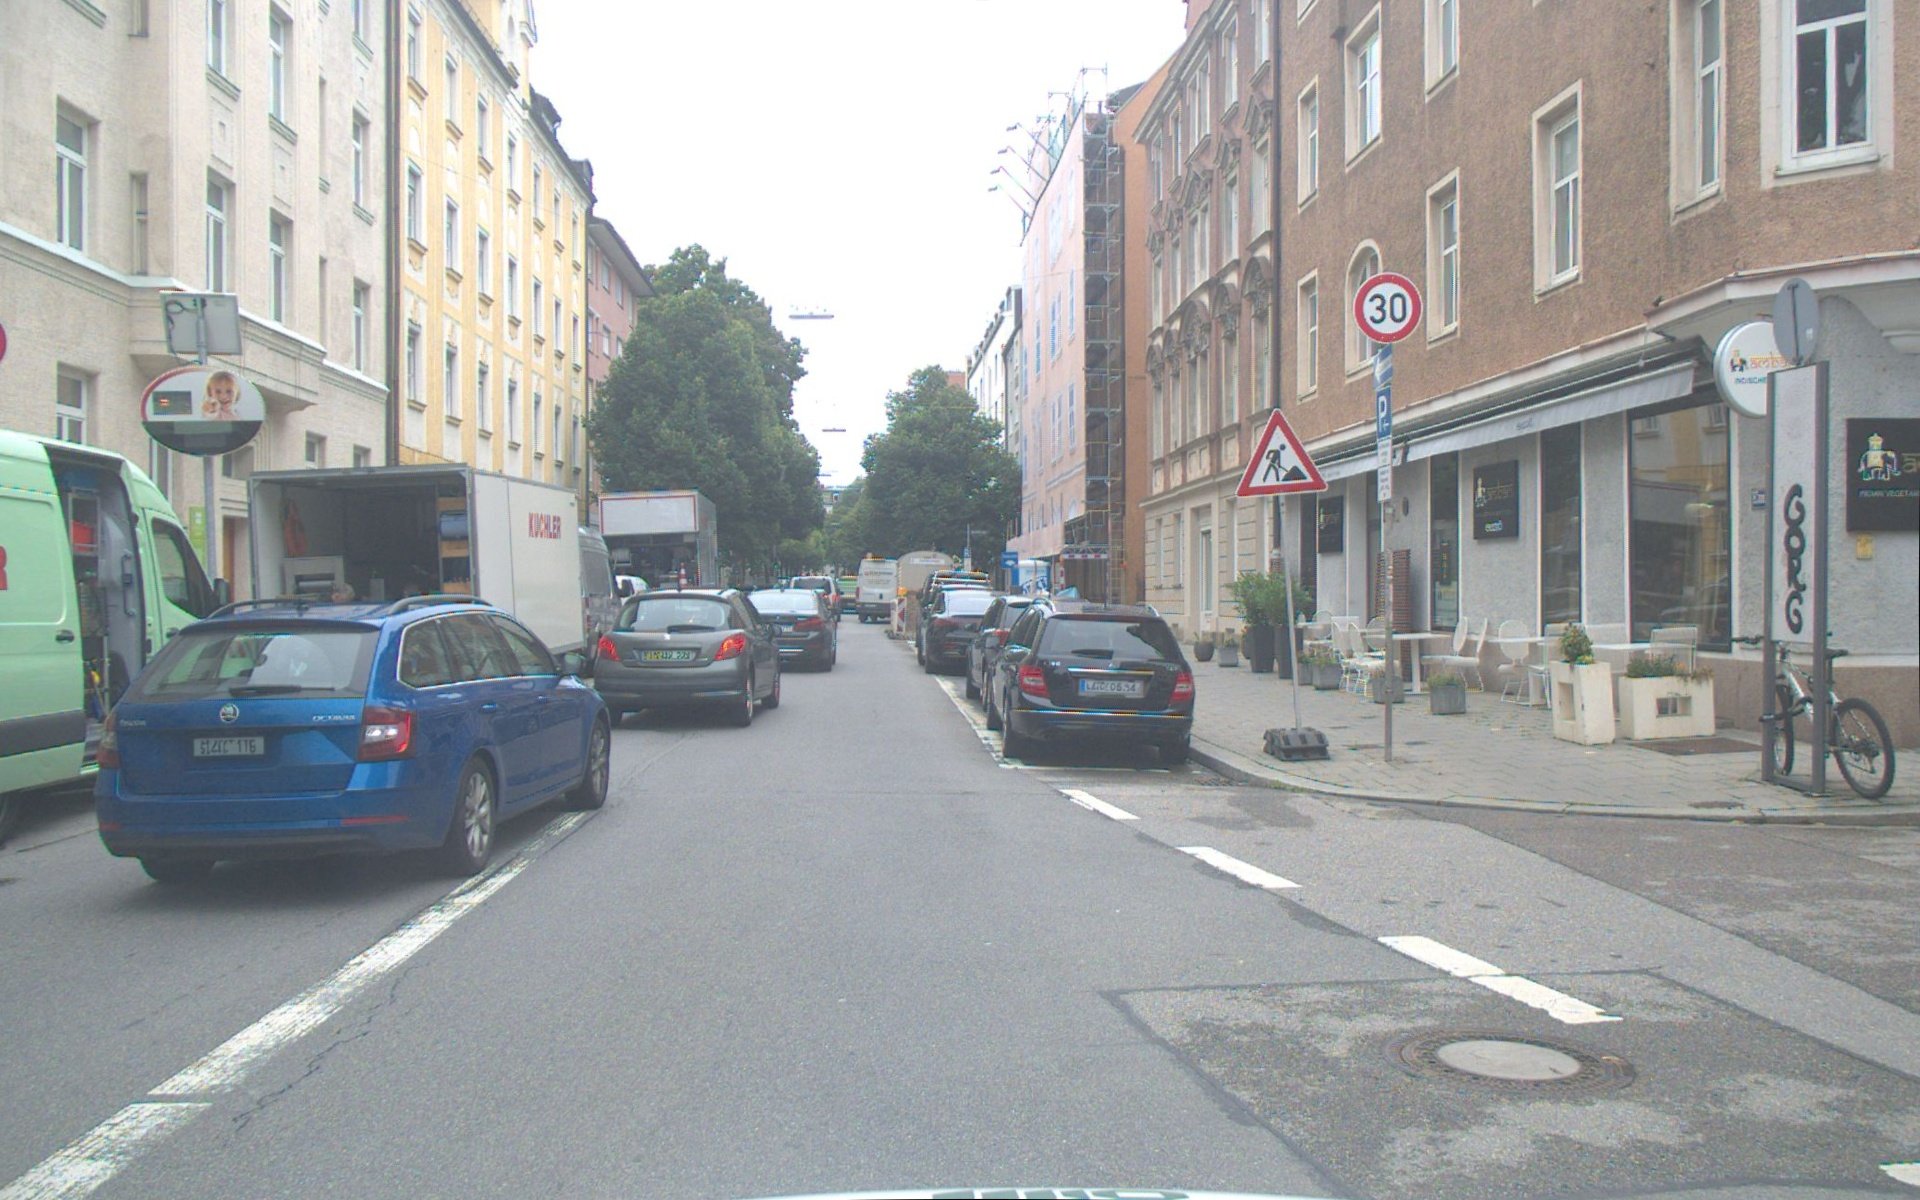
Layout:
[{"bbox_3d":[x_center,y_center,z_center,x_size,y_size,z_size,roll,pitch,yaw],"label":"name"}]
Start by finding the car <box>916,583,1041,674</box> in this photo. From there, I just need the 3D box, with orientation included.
[{"bbox_3d":[0.244,0.477,31.590,1.893,1.580,5.632,0,0,-4],"label":"car"}]

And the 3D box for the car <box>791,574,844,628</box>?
[{"bbox_3d":[-5.259,0.012,61.455,1.830,1.902,4.344,1,1,-4],"label":"car"}]

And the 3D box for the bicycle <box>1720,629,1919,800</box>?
[{"bbox_3d":[6.091,0.770,11.780,0.485,1.022,1.803,-2,2,-1],"label":"bicycle"}]

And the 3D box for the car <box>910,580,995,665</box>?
[{"bbox_3d":[-0.222,0.485,36.882,1.660,1.706,4.405,3,0,-3],"label":"car"}]

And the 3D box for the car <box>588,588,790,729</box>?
[{"bbox_3d":[-2.999,0.603,18.968,1.705,1.446,3.664,0,0,0],"label":"car"}]

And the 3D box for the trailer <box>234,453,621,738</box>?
[{"bbox_3d":[-6.718,-0.121,22.281,2.747,3.020,7.598,-3,1,-1],"label":"trailer"}]

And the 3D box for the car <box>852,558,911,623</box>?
[{"bbox_3d":[-3.368,-0.389,72.069,2.069,2.710,5.501,1,0,2],"label":"car"}]

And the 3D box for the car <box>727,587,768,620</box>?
[{"bbox_3d":[-10.022,0.128,78.215,1.777,1.504,3.995,0,1,-6],"label":"car"}]

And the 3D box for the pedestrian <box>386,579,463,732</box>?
[{"bbox_3d":[-5.998,0.608,18.511,0.751,1.659,0.632,-1,0,-23],"label":"pedestrian"}]

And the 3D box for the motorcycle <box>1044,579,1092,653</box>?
[{"bbox_3d":[2.300,0.330,35.538,0.854,1.531,1.996,0,0,-2],"label":"motorcycle"}]

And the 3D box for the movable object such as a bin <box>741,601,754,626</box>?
[{"bbox_3d":[-8.939,0.557,69.605,0.536,1.038,0.635,-2,1,-7],"label":"movable object such as a bin"}]

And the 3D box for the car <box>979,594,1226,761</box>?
[{"bbox_3d":[1.263,0.653,16.636,1.810,1.429,4.785,0,0,-3],"label":"car"}]

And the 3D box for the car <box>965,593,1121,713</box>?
[{"bbox_3d":[1.001,0.632,21.843,1.541,1.419,4.179,-1,0,-4],"label":"car"}]

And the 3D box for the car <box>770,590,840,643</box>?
[{"bbox_3d":[-4.410,0.433,47.499,1.830,1.371,4.344,1,1,-4],"label":"car"}]

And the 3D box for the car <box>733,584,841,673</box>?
[{"bbox_3d":[-3.148,0.479,30.677,1.831,1.479,4.343,1,1,-5],"label":"car"}]

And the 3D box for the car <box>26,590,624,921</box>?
[{"bbox_3d":[-3.321,0.699,9.665,1.752,1.486,4.315,-1,0,1],"label":"car"}]

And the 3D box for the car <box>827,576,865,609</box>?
[{"bbox_3d":[-6.230,-0.435,90.096,1.969,1.681,4.343,1,1,-5],"label":"car"}]

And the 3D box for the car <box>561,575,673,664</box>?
[{"bbox_3d":[-7.640,0.404,37.165,1.728,1.810,4.324,-2,0,-3],"label":"car"}]

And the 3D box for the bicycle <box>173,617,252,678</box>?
[{"bbox_3d":[-12.170,0.760,26.970,0.407,0.930,1.757,3,0,1],"label":"bicycle"}]

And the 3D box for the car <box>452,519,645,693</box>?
[{"bbox_3d":[-7.204,0.067,29.760,2.016,2.632,6.871,-4,1,-4],"label":"car"}]

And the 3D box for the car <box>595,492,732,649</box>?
[{"bbox_3d":[-7.970,-0.753,45.502,2.757,3.884,8.716,0,0,-4],"label":"car"}]

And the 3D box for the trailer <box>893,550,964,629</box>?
[{"bbox_3d":[-1.318,-0.377,65.110,2.453,2.889,6.896,1,0,-4],"label":"trailer"}]

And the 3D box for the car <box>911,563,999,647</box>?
[{"bbox_3d":[-0.195,0.193,42.983,2.041,1.955,5.137,1,-2,-3],"label":"car"}]

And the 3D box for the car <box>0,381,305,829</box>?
[{"bbox_3d":[-6.734,0.016,11.327,2.098,2.617,6.791,0,0,-3],"label":"car"}]
